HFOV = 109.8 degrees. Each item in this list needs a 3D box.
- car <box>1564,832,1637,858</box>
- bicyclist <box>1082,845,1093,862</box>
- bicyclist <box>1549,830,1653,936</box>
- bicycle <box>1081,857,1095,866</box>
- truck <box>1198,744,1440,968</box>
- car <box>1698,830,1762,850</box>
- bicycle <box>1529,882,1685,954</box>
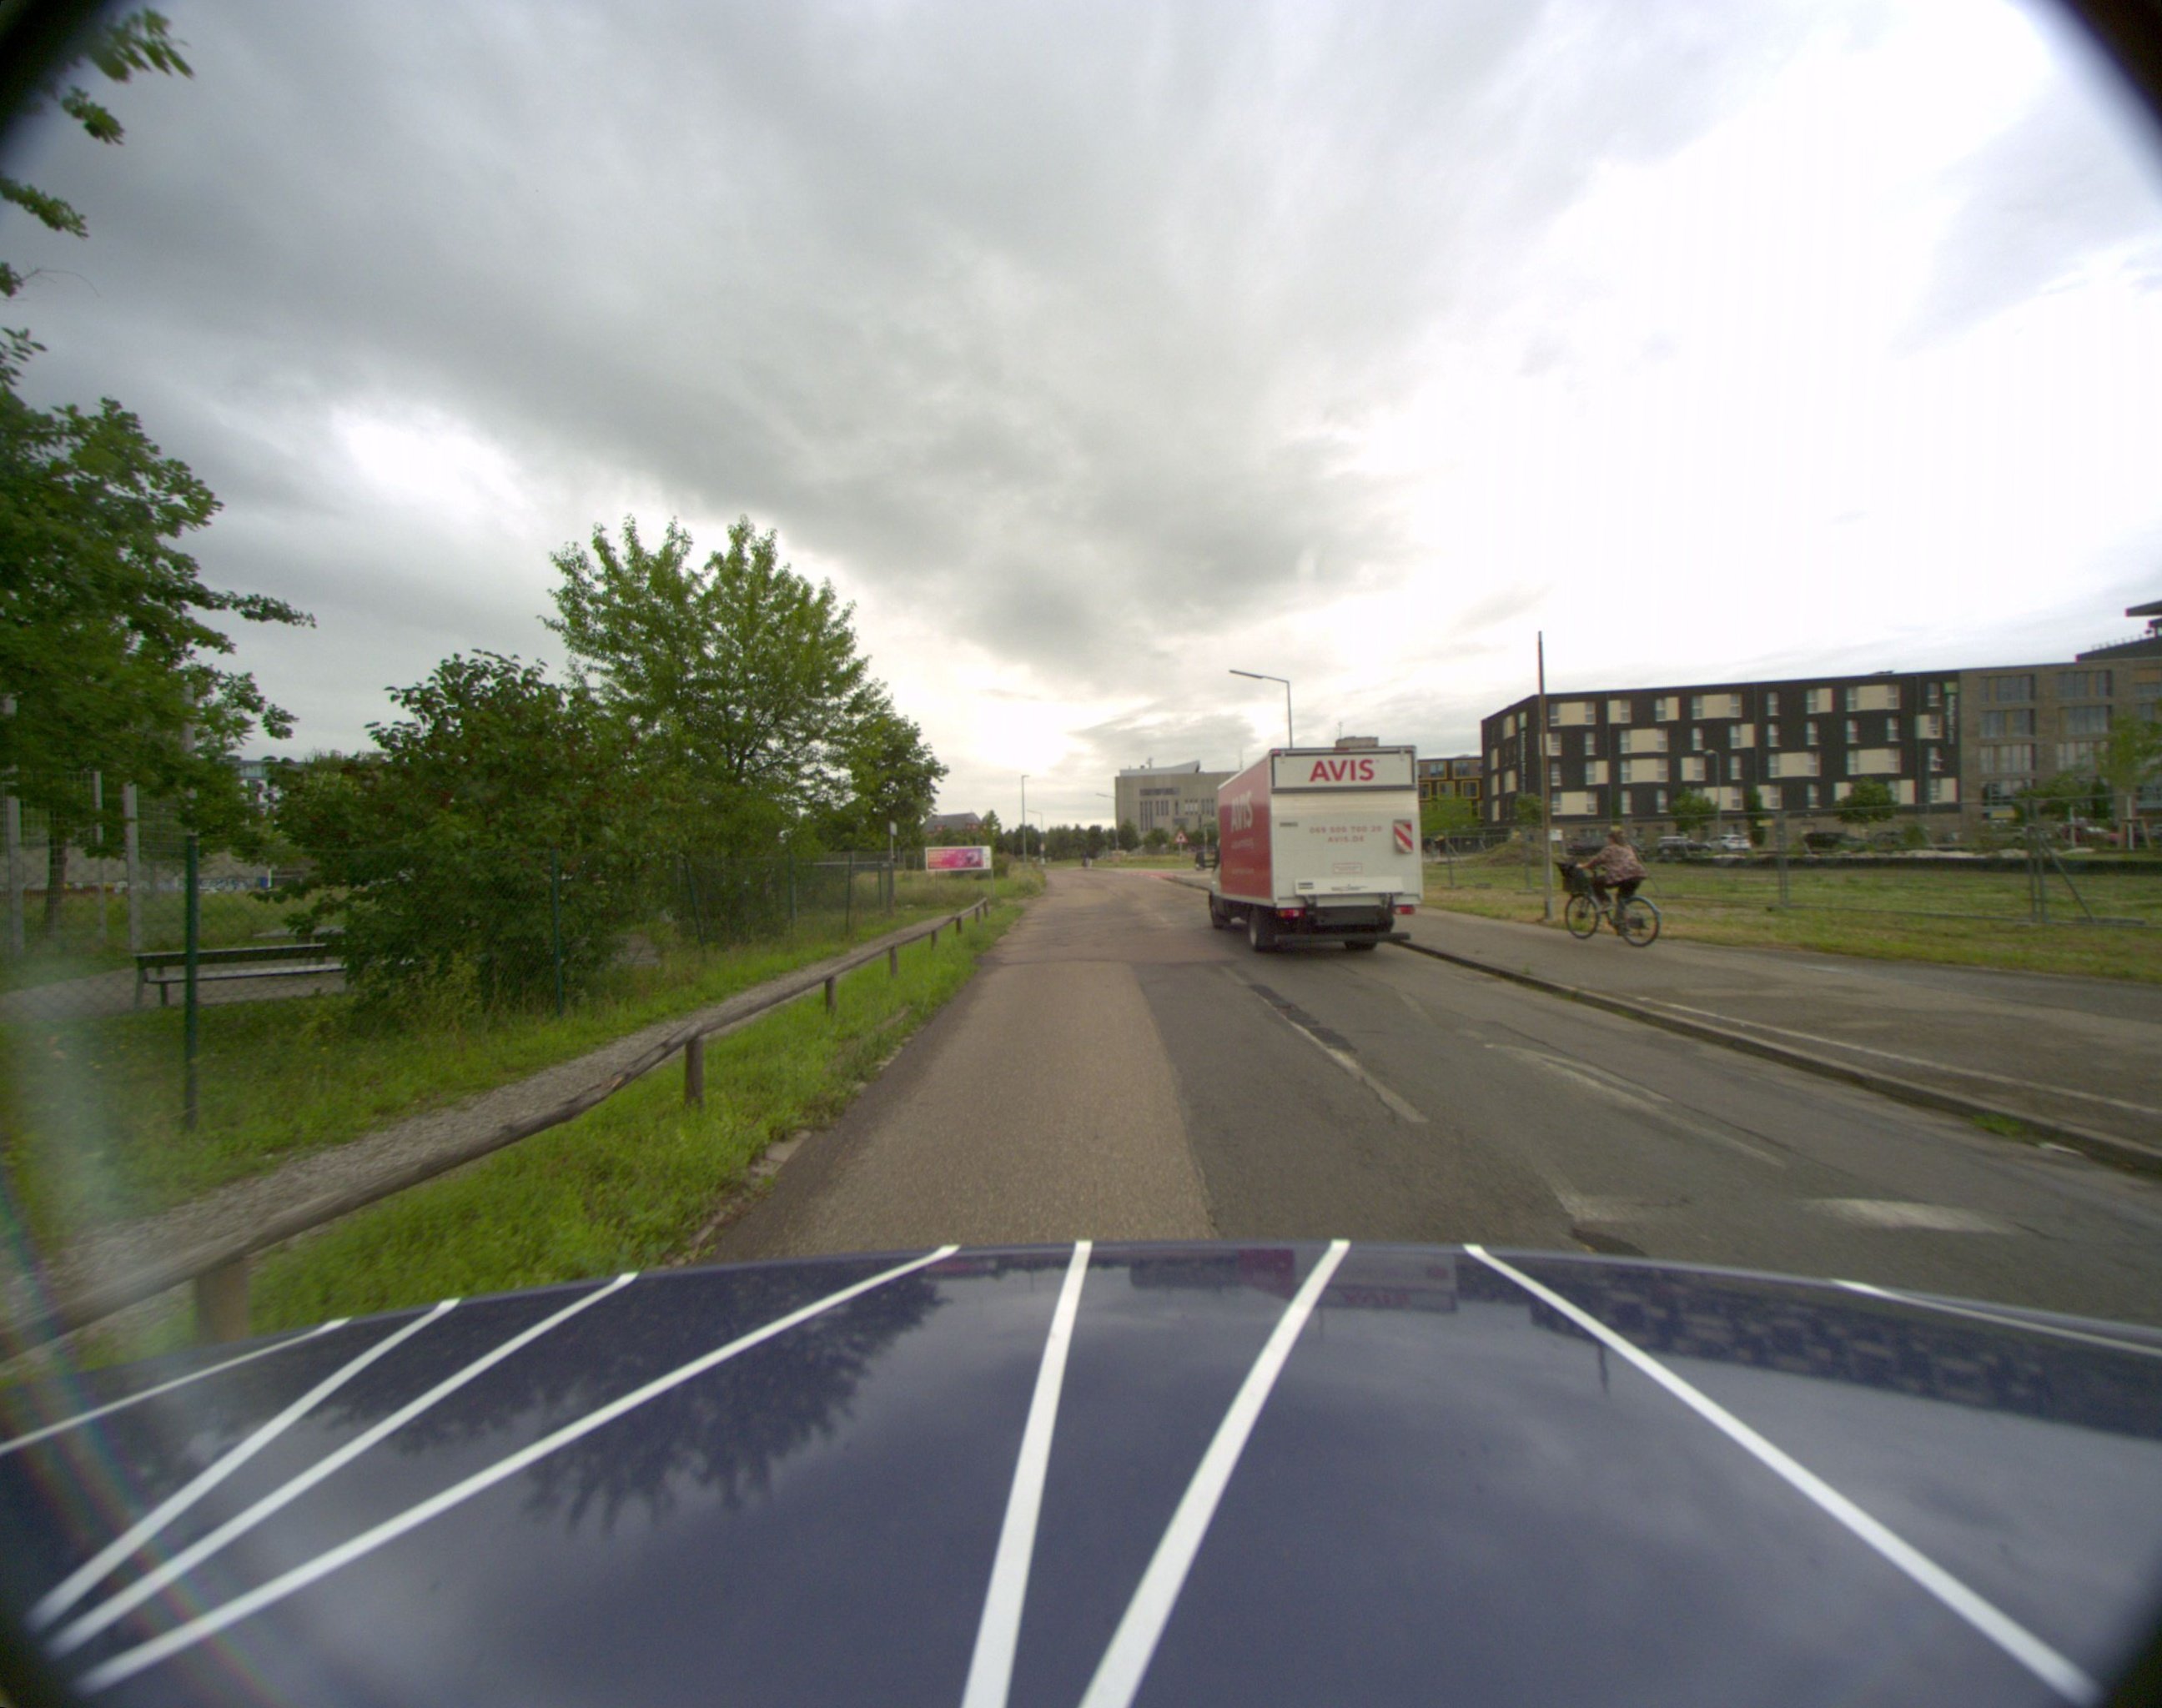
[{"bbox_3d":[39.038,-0.642,57.161,3.994,1.812,2.002,-2,0,11],"label":"car"},{"bbox_3d":[0.783,-0.043,90.515,0.865,2.002,1.176,-2,0,-16],"label":"bicyclist"},{"bbox_3d":[7.873,0.429,11.562,0.784,1.517,1.094,-2,0,0],"label":"bicyclist"},{"bbox_3d":[0.823,0.909,90.506,0.887,1.046,2.466,-2,-1,-16],"label":"bicycle"},{"bbox_3d":[3.832,0.024,14.166,2.346,3.044,7.497,1,0,2],"label":"truck"},{"bbox_3d":[55.238,-1.202,64.784,1.998,1.508,4.155,-2,-1,2],"label":"car"},{"bbox_3d":[7.889,0.922,11.561,0.805,0.902,2.232,-2,-1,0],"label":"bicycle"}]
